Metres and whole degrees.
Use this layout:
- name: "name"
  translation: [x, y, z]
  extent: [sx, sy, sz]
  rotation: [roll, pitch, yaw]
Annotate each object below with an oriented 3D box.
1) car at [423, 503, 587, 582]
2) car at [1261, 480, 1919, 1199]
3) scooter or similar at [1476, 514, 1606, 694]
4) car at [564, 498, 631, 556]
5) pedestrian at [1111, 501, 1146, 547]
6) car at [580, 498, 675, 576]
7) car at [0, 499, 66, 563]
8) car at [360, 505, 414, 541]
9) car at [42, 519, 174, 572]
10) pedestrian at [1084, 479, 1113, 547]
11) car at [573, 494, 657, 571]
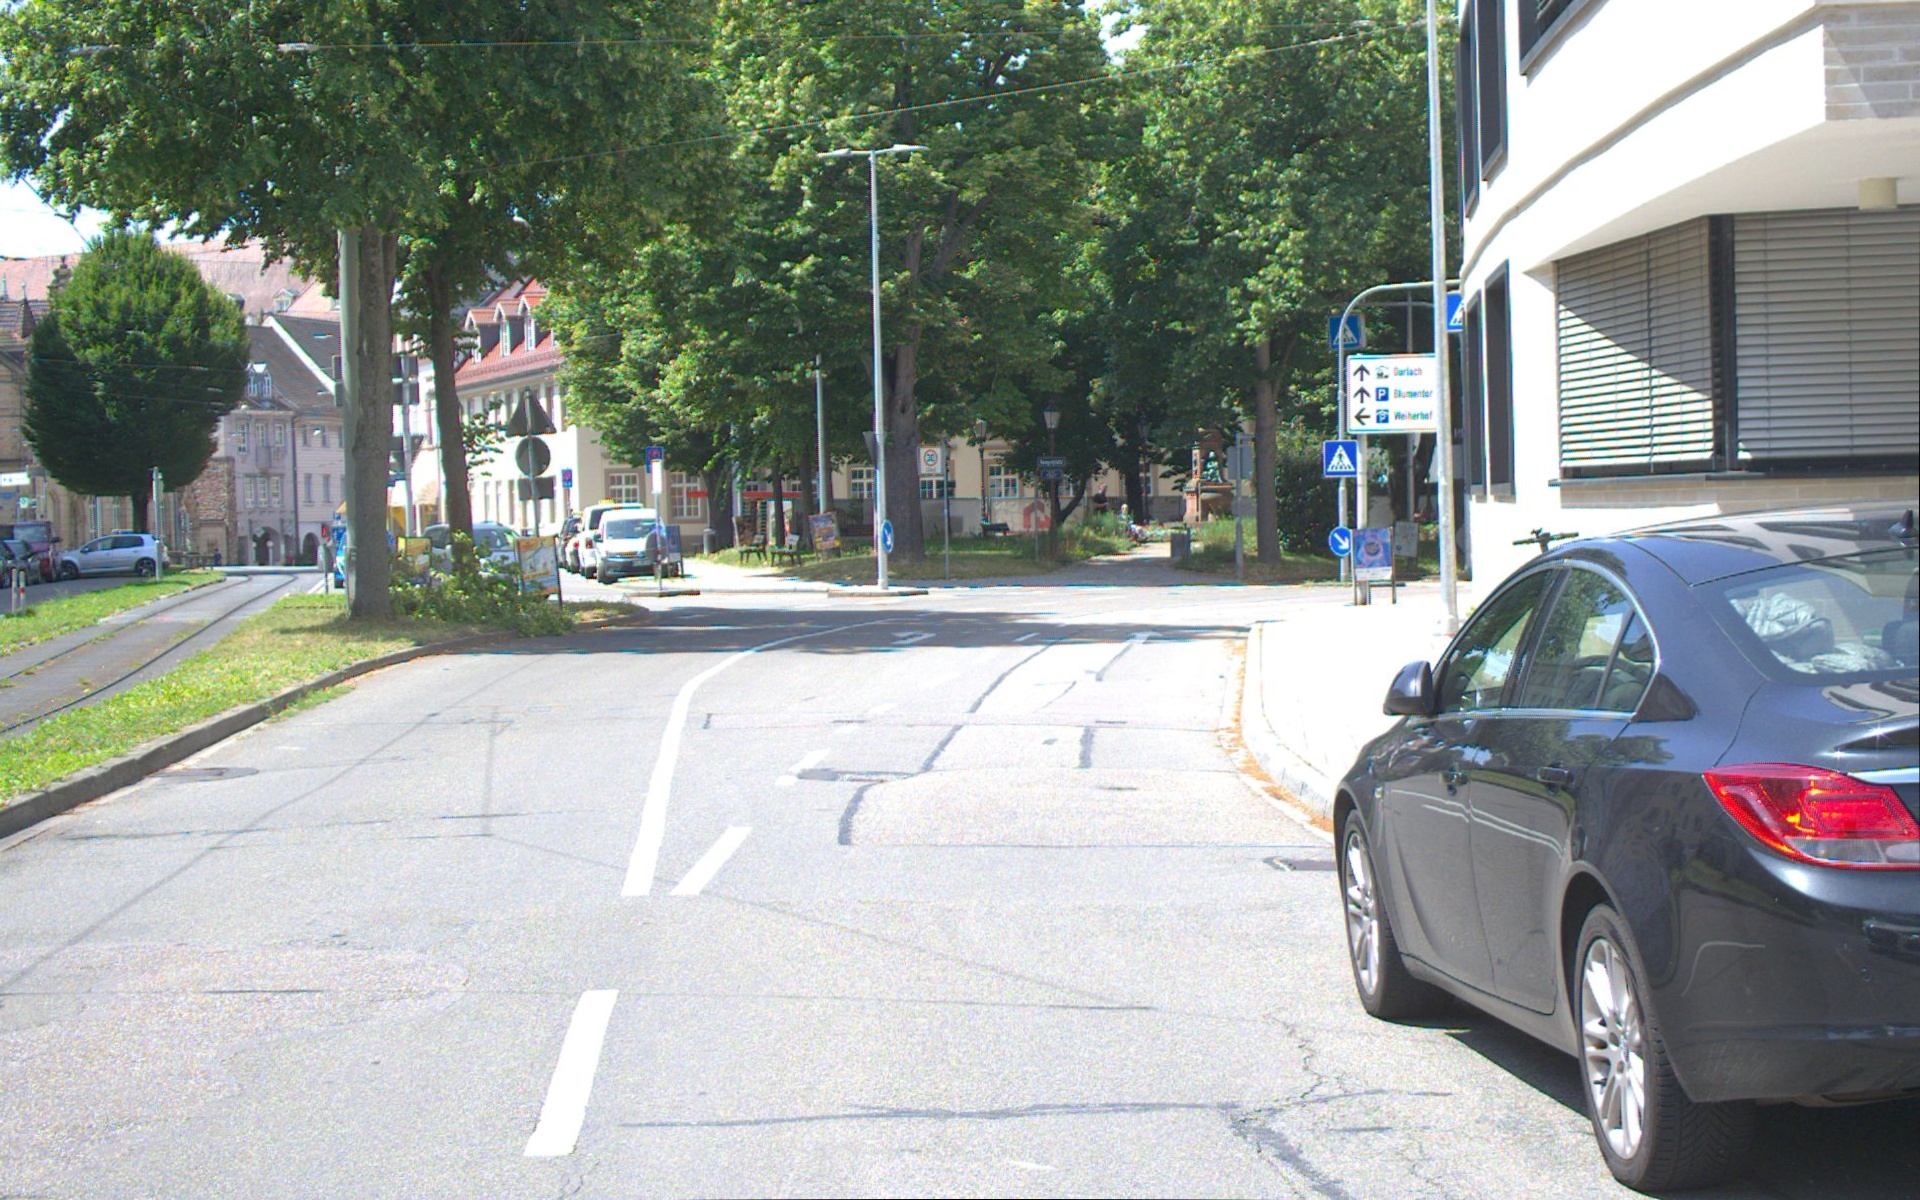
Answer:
- name: "car"
  translation: [-9.211, -1.182, 69.334]
  extent: [1.903, 1.528, 4.244]
  rotation: [-1, 2, -28]
- name: "car"
  translation: [2.159, 0.493, 8.928]
  extent: [1.799, 1.504, 4.548]
  rotation: [-5, 1, -6]
- name: "scooter or similar"
  translation: [4.274, 0.012, 25.376]
  extent: [0.581, 1.256, 1.368]
  rotation: [-4, 2, -3]
- name: "car"
  translation: [-10.674, -2.157, 101.075]
  extent: [1.783, 1.618, 4.487]
  rotation: [-1, 2, -8]
- name: "pedestrian"
  translation: [4.756, -2.139, 97.174]
  extent: [0.906, 1.247, 1.148]
  rotation: [-1, 3, 6]
- name: "car"
  translation: [-8.273, -1.588, 85.184]
  extent: [1.993, 1.820, 4.424]
  rotation: [-1, 2, -10]
- name: "car"
  translation: [-29.648, -2.198, 109.252]
  extent: [1.853, 1.904, 4.773]
  rotation: [-3, 2, -9]
- name: "car"
  translation: [-24.953, -3.355, 149.569]
  extent: [1.860, 1.481, 4.001]
  rotation: [-1, 2, -16]
- name: "car"
  translation: [-28.547, -1.840, 115.273]
  extent: [4.201, 1.499, 2.005]
  rotation: [-4, 2, -13]
- name: "pedestrian"
  translation: [3.914, -2.459, 97.209]
  extent: [0.748, 1.904, 0.684]
  rotation: [-1, 3, 6]
- name: "car"
  translation: [-9.429, -1.879, 93.587]
  extent: [2.049, 1.995, 5.250]
  rotation: [-1, 2, -8]
